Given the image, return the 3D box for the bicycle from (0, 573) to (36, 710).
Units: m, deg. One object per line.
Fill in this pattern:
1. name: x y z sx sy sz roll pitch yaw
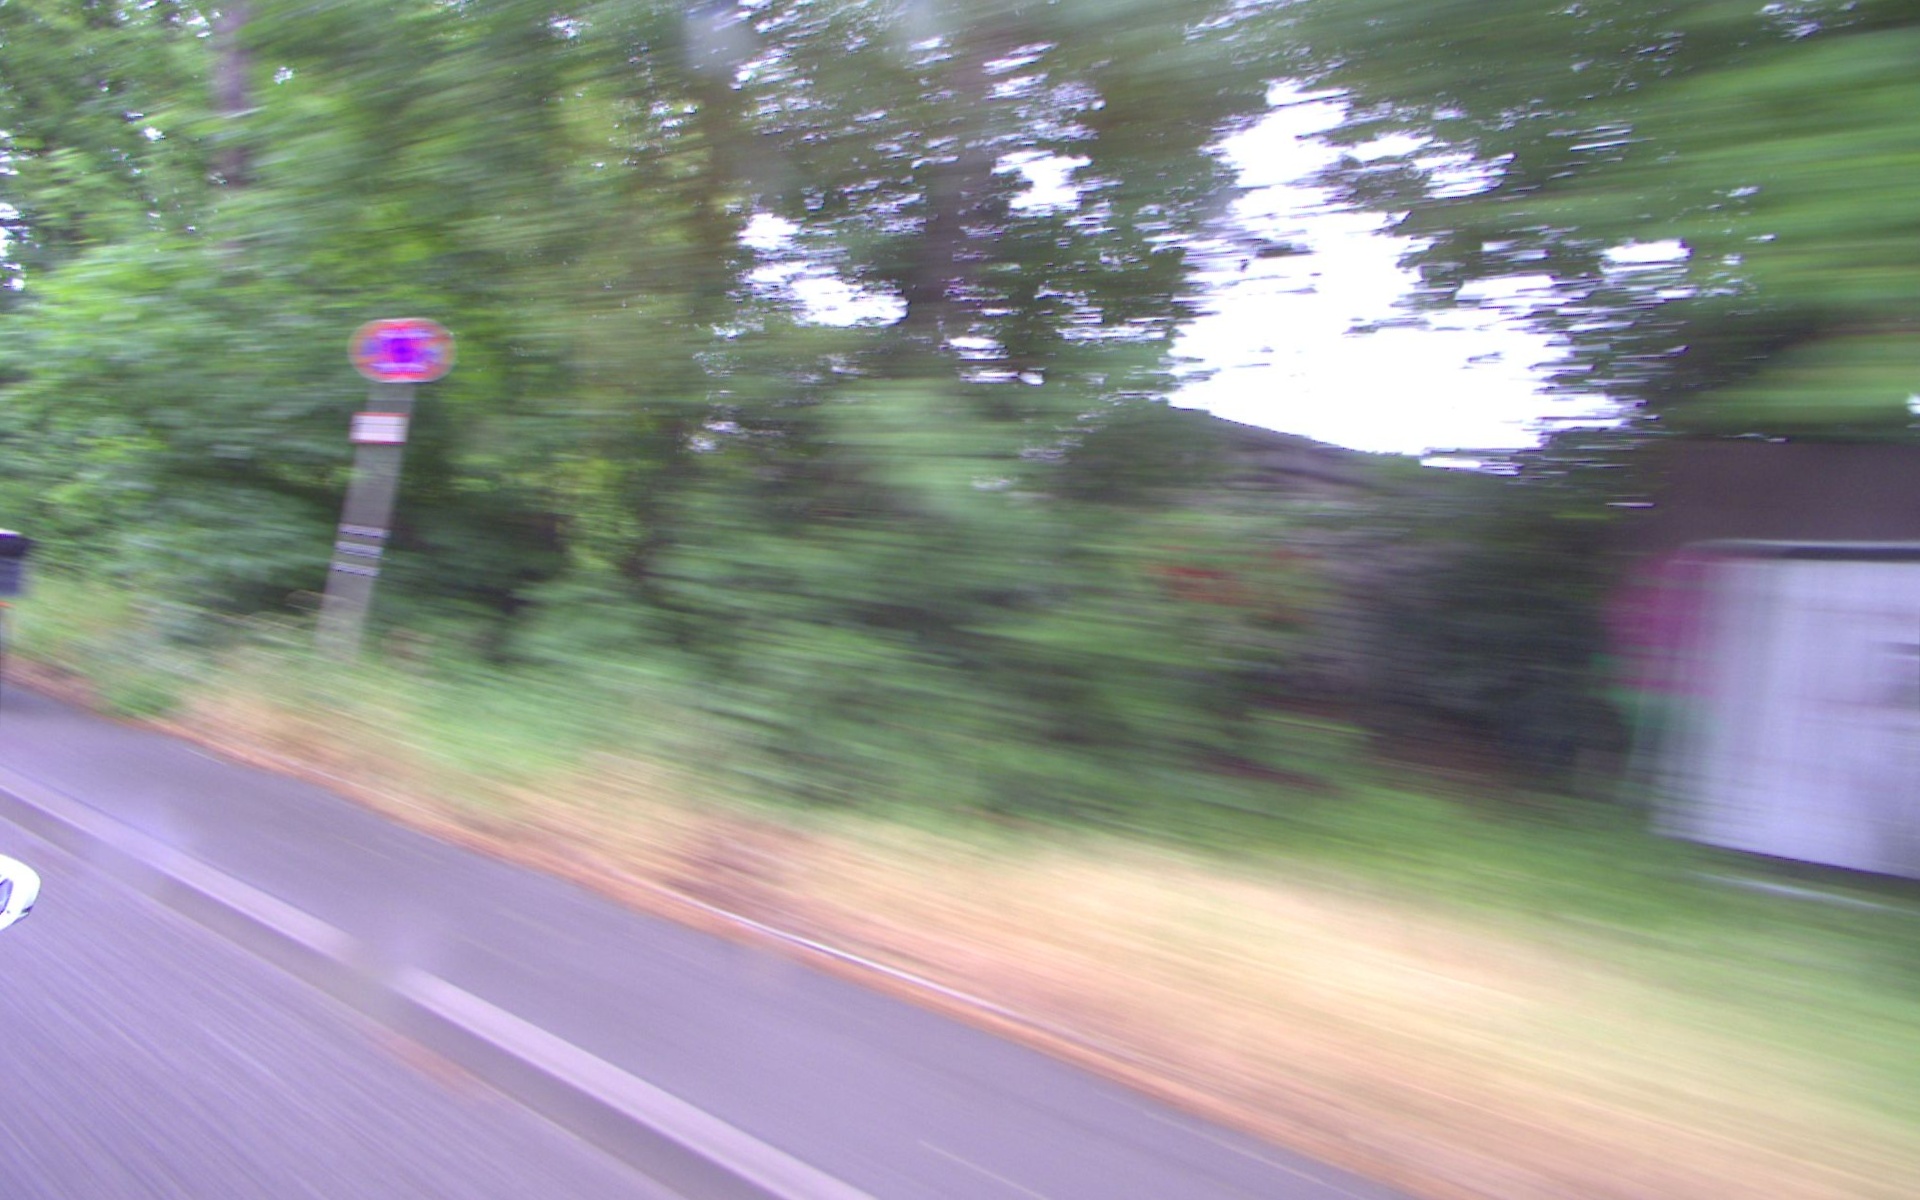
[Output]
1. bicycle: -7.059 0.199 7.009 1.713 0.859 0.356 8 1 30
